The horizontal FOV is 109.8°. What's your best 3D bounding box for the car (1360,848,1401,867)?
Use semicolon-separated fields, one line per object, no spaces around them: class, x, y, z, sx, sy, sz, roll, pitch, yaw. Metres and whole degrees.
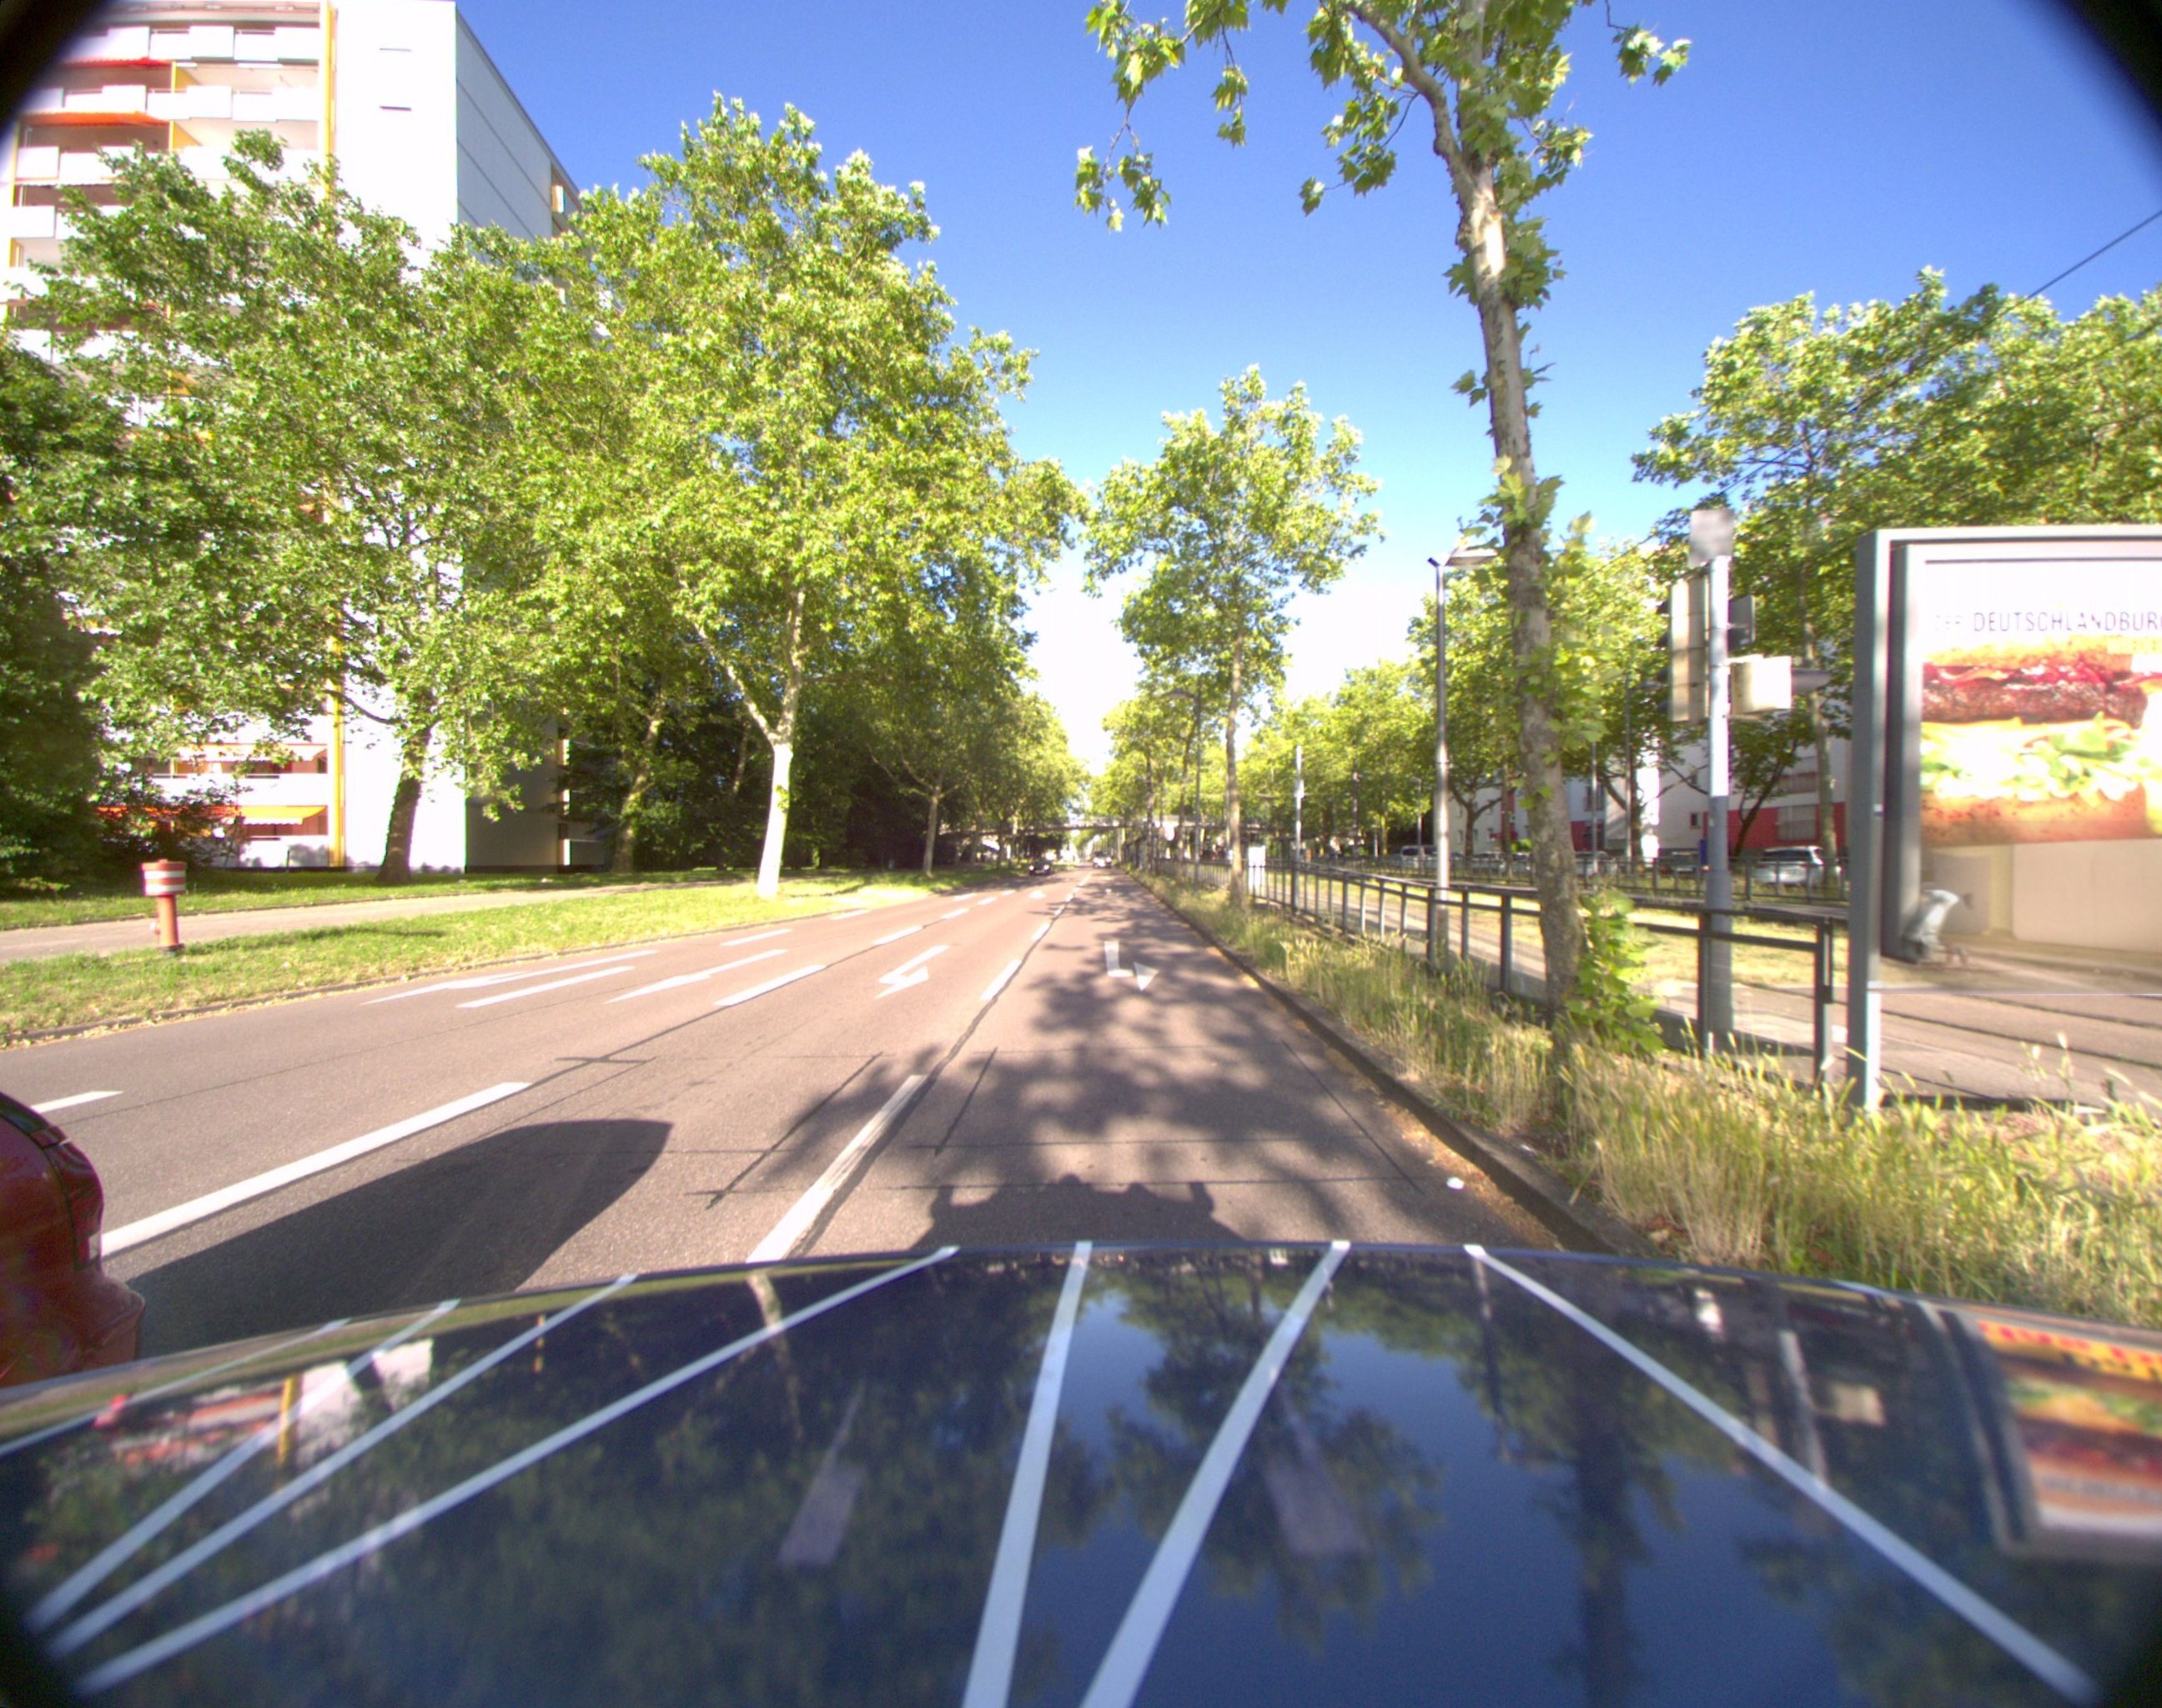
car;24.942;0.266;63.212;3.811;1.433;1.652;-2;0;-42

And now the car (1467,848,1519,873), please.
car;25.851;0.392;47.682;3.811;1.433;1.652;-2;0;-42

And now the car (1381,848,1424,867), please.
car;25.728;0.264;60.755;3.811;1.433;1.652;-2;0;-42

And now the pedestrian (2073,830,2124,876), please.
pedestrian;36.654;-0.047;27.386;0.764;1.614;0.786;-2;1;-1

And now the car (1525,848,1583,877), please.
car;25.863;0.438;41.482;3.811;1.433;1.652;-2;0;-42

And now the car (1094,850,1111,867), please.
car;2.541;0.505;91.048;1.906;1.924;4.720;-2;0;2

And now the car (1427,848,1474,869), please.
car;26.301;0.305;54.035;3.811;1.433;1.652;-2;0;-42

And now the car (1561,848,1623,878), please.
car;25.382;0.443;37.701;3.811;1.348;1.652;-2;0;-42

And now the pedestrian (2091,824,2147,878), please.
pedestrian;34.538;-0.102;25.291;0.764;1.723;0.786;-2;1;-1

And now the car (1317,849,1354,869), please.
car;21.184;0.402;63.439;1.655;1.609;4.294;-2;0;1

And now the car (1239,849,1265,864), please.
car;21.336;0.309;95.016;1.832;1.811;4.900;-2;0;-5

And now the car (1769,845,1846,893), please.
car;25.358;0.485;26.478;3.811;1.501;1.652;-2;0;-42

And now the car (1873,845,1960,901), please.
car;25.245;0.520;22.969;3.811;1.501;1.652;-2;0;-42

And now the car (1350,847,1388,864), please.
car;26.617;0.129;70.137;3.811;1.433;1.652;-2;0;-42

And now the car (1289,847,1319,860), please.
car;26.436;-0.055;89.978;3.811;1.433;1.652;-2;0;-42

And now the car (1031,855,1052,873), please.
car;-3.223;0.780;62.695;1.580;1.395;3.638;-2;0;0

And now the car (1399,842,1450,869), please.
car;25.817;0.084;57.033;4.330;1.863;1.836;-2;0;-42

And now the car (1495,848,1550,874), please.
car;26.098;0.402;44.867;3.811;1.433;1.652;-2;0;-42
